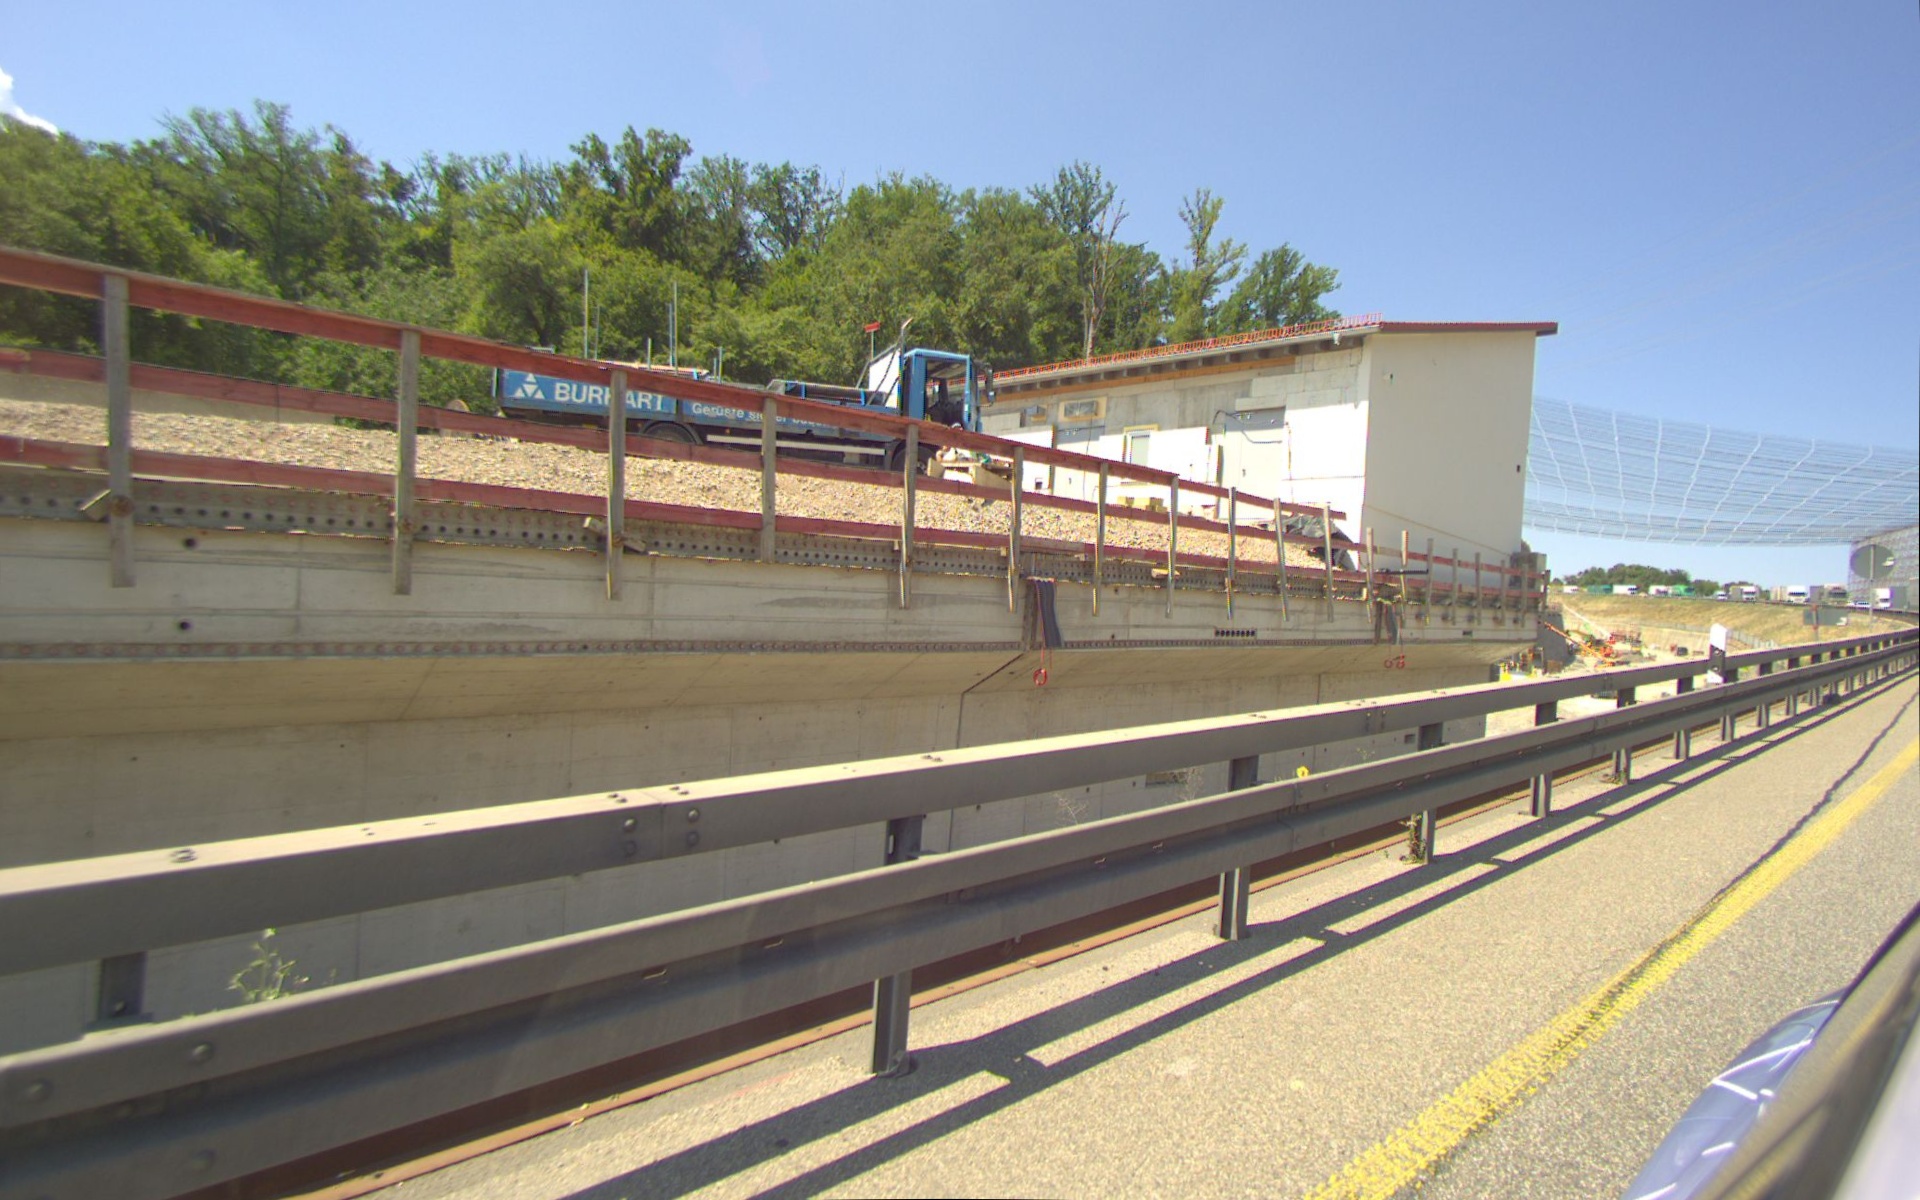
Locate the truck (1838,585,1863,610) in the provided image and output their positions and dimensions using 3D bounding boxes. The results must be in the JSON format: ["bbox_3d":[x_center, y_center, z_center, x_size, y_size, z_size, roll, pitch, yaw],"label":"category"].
[{"bbox_3d":[148.983,-0.508,169.374,3.030,4.107,8.547,0,0,41],"label":"truck"}]

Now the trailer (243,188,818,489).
[{"bbox_3d":[-7.279,-4.360,18.388,8.805,3.742,2.725,3,-1,-18],"label":"trailer"}]

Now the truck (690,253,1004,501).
[{"bbox_3d":[-2.297,-4.160,20.030,5.590,3.742,2.725,3,-1,-18],"label":"truck"}]

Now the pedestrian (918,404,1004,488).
[{"bbox_3d":[0.010,-2.470,16.434,0.976,1.165,1.023,-1,0,-35],"label":"pedestrian"}]

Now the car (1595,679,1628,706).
[{"bbox_3d":[59.633,8.437,92.598,1.991,2.039,3.942,0,0,40],"label":"car"}]

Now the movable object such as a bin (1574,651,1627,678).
[{"bbox_3d":[74.147,7.416,117.251,2.175,2.669,5.507,-1,0,-6],"label":"movable object such as a bin"}]

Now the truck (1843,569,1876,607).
[{"bbox_3d":[118.793,-1.536,133.726,3.030,4.866,8.810,-1,0,41],"label":"truck"}]

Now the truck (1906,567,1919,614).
[{"bbox_3d":[91.145,-0.957,95.199,2.900,4.285,9.102,-1,0,42],"label":"truck"}]

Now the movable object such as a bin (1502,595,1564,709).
[{"bbox_3d":[39.582,3.412,69.852,2.918,7.445,6.157,-1,0,37],"label":"movable object such as a bin"}]
